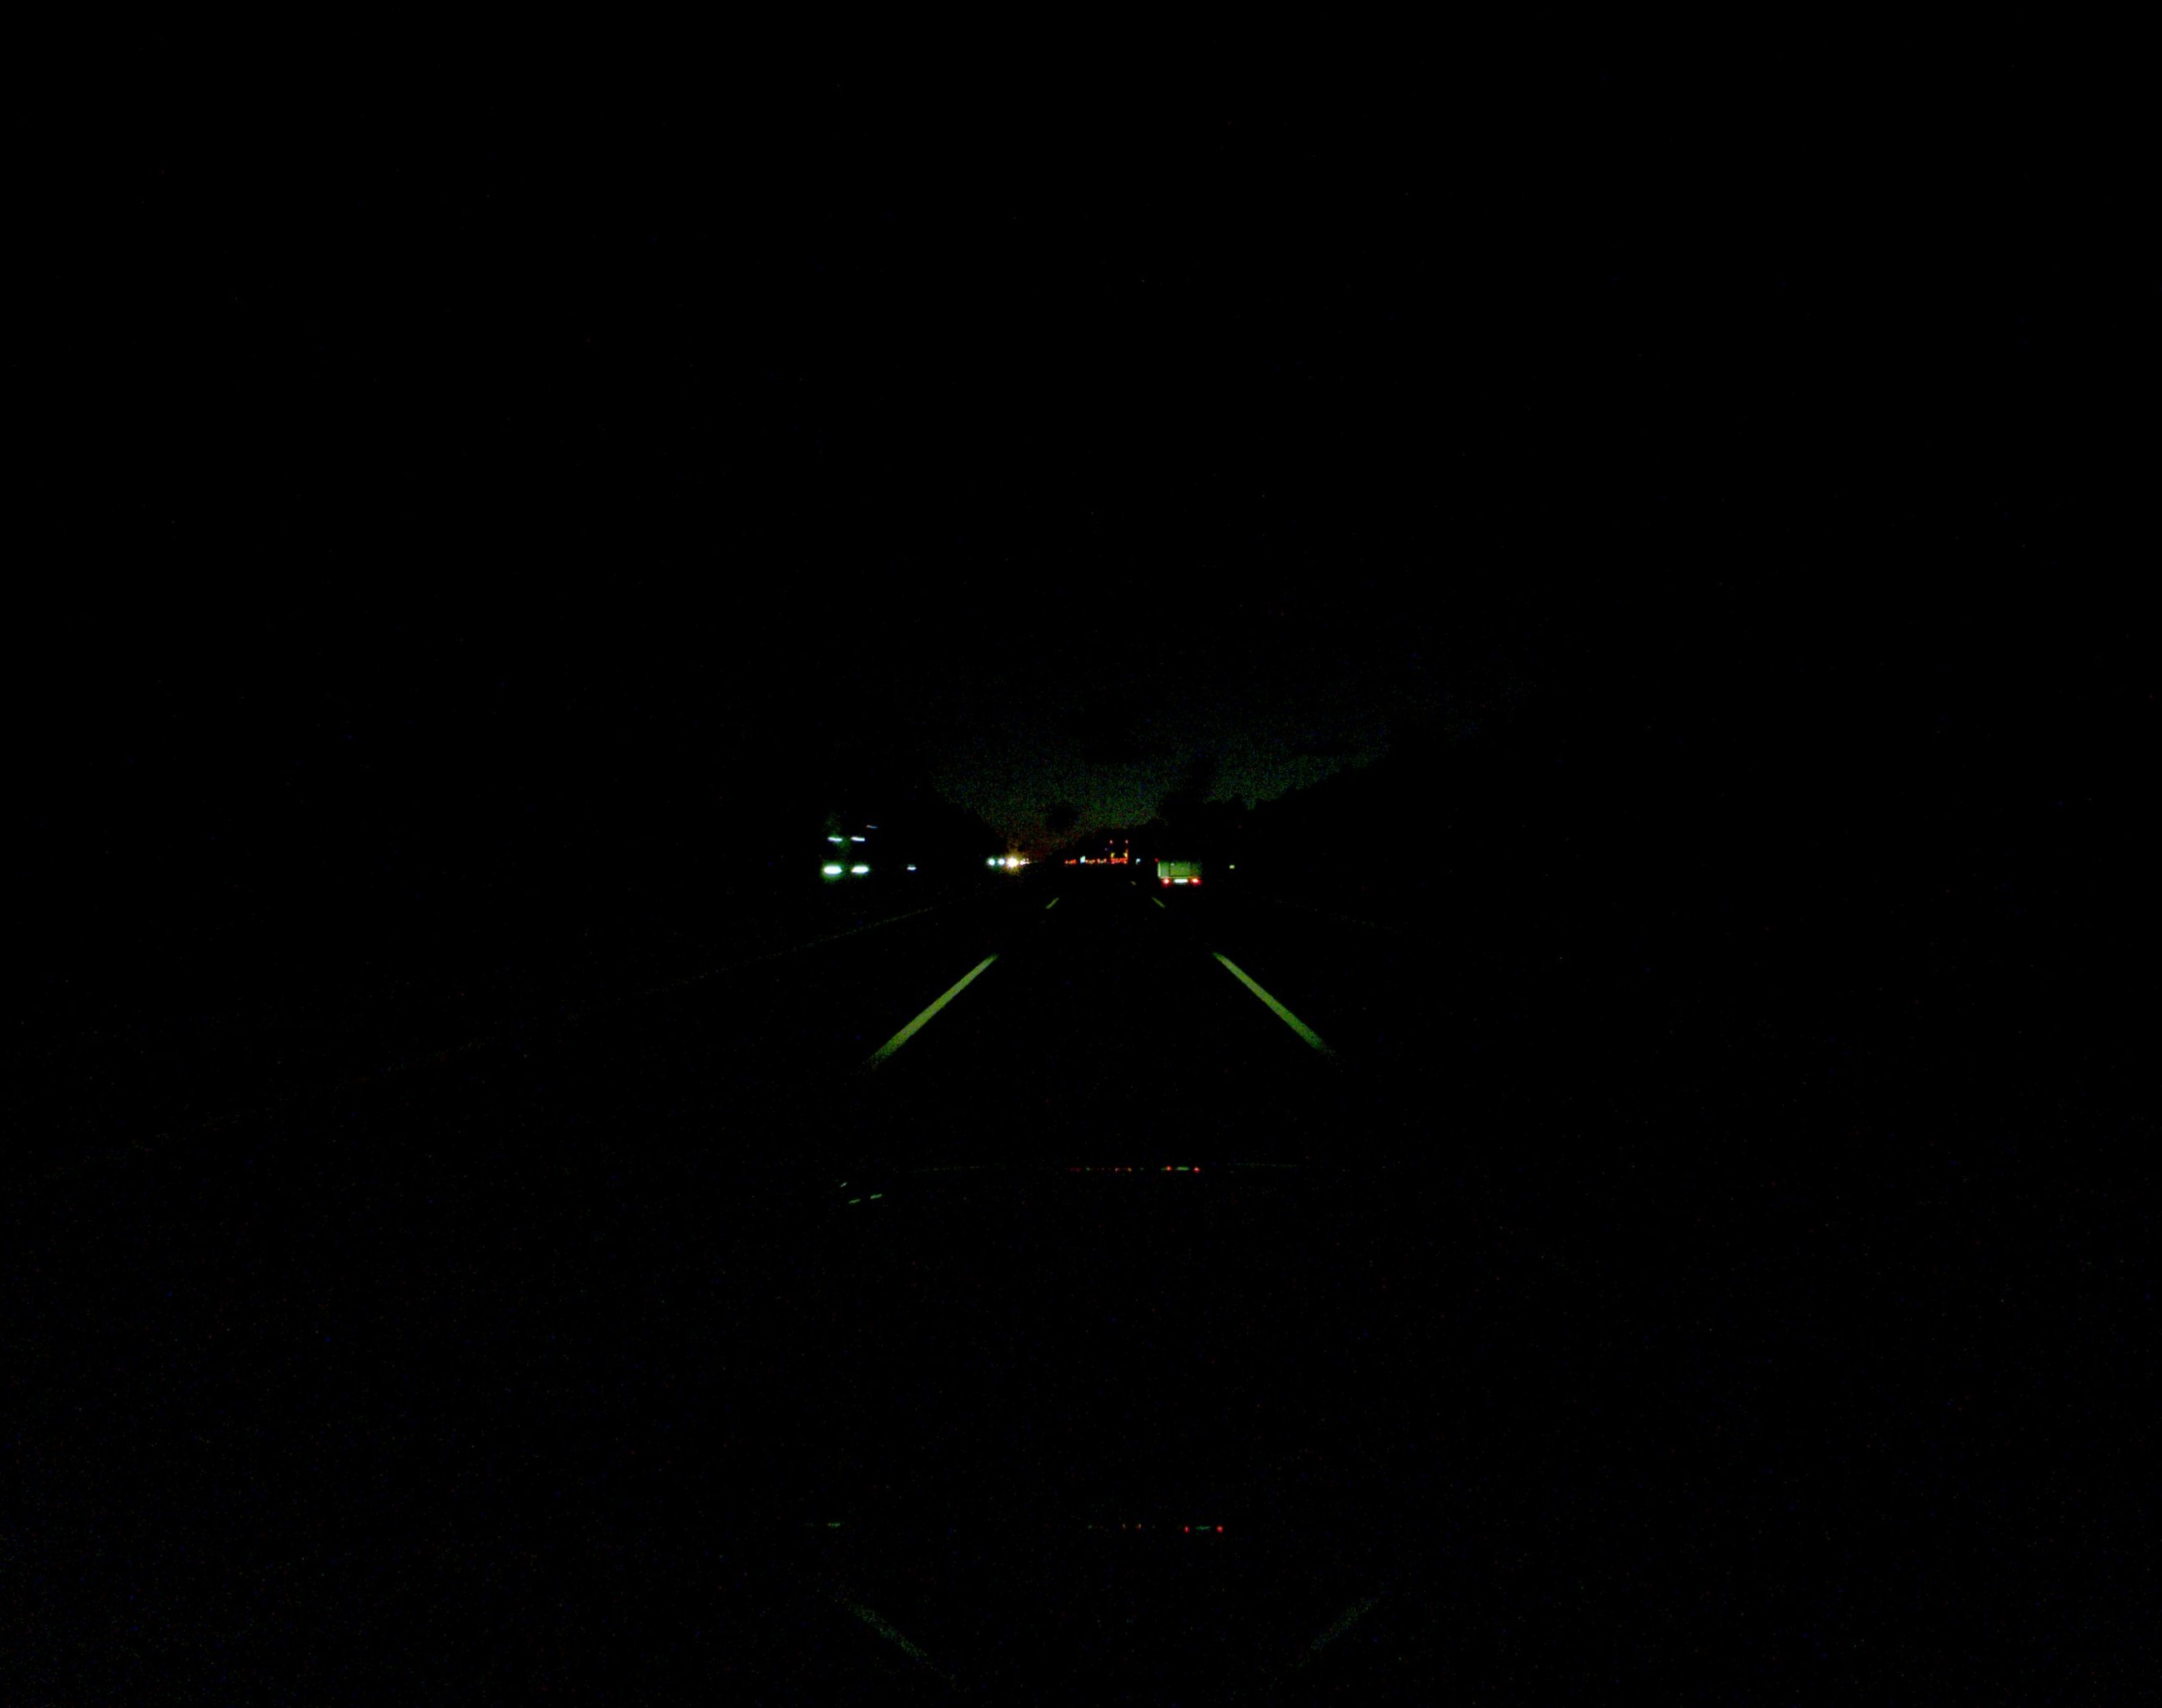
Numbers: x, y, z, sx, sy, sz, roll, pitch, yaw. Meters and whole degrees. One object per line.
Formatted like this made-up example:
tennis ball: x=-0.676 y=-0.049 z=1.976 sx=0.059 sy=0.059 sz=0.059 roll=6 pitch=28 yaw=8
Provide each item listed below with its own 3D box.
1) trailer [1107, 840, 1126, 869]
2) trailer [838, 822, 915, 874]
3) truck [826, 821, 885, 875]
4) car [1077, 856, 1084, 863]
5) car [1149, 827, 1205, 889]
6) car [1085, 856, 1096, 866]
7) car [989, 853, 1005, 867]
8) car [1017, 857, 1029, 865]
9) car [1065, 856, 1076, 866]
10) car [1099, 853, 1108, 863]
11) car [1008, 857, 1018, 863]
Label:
trailer: x=5.854 y=0.289 z=135.267 sx=2.818 sy=4.257 sz=17.053 roll=-1 pitch=-2 yaw=2
trailer: x=-17.253 y=-0.410 z=69.950 sx=2.844 sy=3.980 sz=13.888 roll=-1 pitch=0 yaw=1
truck: x=-17.383 y=-0.438 z=63.185 sx=2.844 sy=3.980 sz=5.861 roll=-1 pitch=0 yaw=1
car: x=-0.196 y=1.564 z=234.623 sx=1.986 sy=1.816 sz=4.001 roll=-1 pitch=-2 yaw=2
car: x=4.374 y=0.189 z=37.884 sx=2.025 sy=2.647 sz=5.726 roll=-1 pitch=-1 yaw=1
car: x=1.997 y=1.387 z=164.994 sx=1.985 sy=1.794 sz=4.002 roll=-1 pitch=-2 yaw=2
car: x=-13.149 y=0.877 z=127.977 sx=2.239 sy=2.101 sz=5.708 roll=-1 pitch=0 yaw=-3
car: x=-13.058 y=1.498 z=183.081 sx=2.237 sy=1.668 sz=4.887 roll=-1 pitch=0 yaw=-1
car: x=-2.138 y=1.453 z=166.541 sx=1.989 sy=1.794 sz=3.996 roll=-1 pitch=-2 yaw=-2
car: x=5.217 y=0.917 z=191.599 sx=1.987 sy=2.117 sz=3.998 roll=-1 pitch=-2 yaw=-1
car: x=-19.342 y=1.832 z=231.871 sx=2.237 sy=1.668 sz=4.885 roll=-1 pitch=0 yaw=-1
